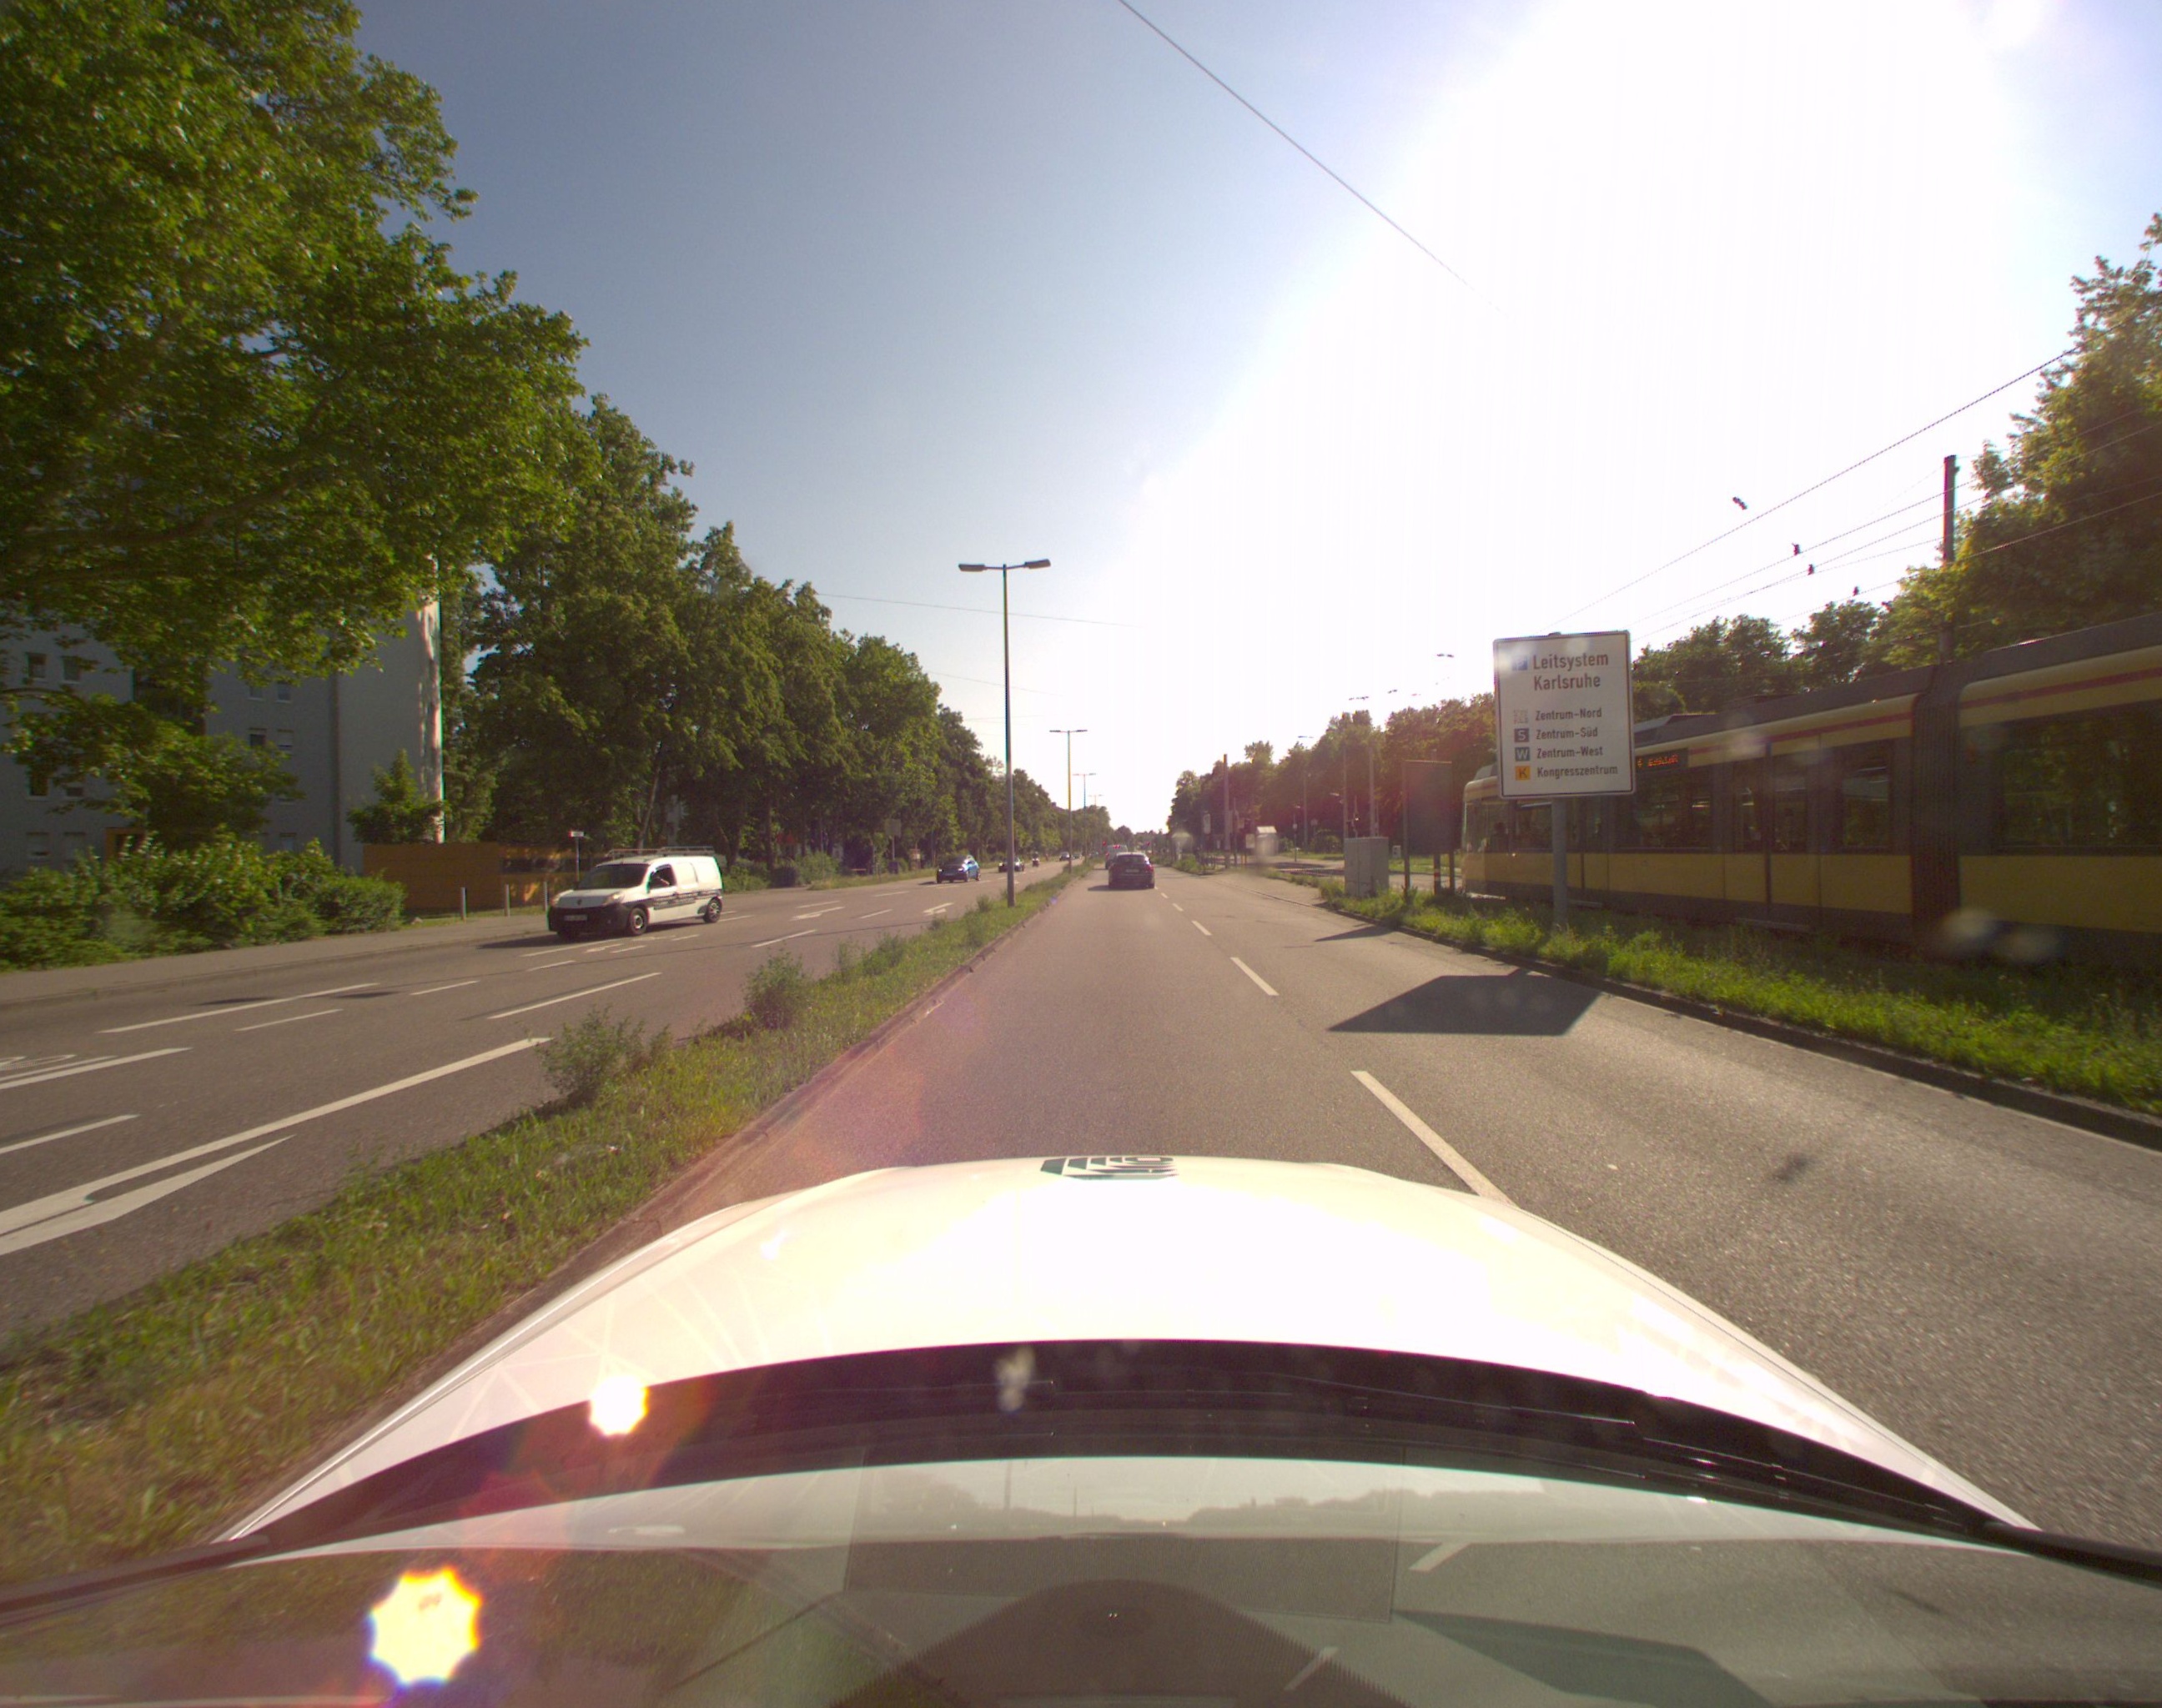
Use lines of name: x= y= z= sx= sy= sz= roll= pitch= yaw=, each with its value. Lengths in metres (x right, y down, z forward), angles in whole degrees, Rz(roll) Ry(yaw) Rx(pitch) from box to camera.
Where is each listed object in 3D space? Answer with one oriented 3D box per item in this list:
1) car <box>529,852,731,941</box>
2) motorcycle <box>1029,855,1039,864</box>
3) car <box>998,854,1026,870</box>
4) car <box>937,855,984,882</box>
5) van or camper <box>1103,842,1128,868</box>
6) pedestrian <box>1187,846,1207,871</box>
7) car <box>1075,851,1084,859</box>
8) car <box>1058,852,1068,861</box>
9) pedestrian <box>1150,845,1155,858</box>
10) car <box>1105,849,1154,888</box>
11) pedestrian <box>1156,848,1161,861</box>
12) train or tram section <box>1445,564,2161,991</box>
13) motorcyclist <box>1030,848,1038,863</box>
car: x=-10.374 y=0.875 z=19.214 sx=1.779 sy=1.772 sz=4.577 roll=-2 pitch=0 yaw=6
motorcycle: x=-5.170 y=0.601 z=89.624 sx=0.774 sy=0.948 sz=2.403 roll=-1 pitch=0 yaw=2
car: x=-5.895 y=0.671 z=69.873 sx=1.781 sy=1.328 sz=4.739 roll=-1 pitch=0 yaw=2
car: x=-6.948 y=0.815 z=47.299 sx=1.781 sy=1.415 sz=4.391 roll=-1 pitch=0 yaw=4
van or camper: x=2.973 y=0.066 z=69.615 sx=1.986 sy=2.096 sz=4.601 roll=-2 pitch=0 yaw=2
pedestrian: x=7.499 y=0.296 z=52.744 sx=0.988 sy=1.634 sz=0.726 roll=-1 pitch=0 yaw=36
car: x=-0.331 y=0.243 z=179.473 sx=1.843 sy=1.552 sz=4.002 roll=-2 pitch=0 yaw=2
car: x=-3.345 y=0.480 z=149.432 sx=1.528 sy=1.486 sz=4.002 roll=-2 pitch=0 yaw=2
pedestrian: x=11.242 y=-0.353 z=128.362 sx=0.696 sy=2.013 sz=0.703 roll=-1 pitch=0 yaw=1
car: x=2.056 y=0.562 z=33.972 sx=1.894 sy=1.505 sz=4.070 roll=-2 pitch=0 yaw=4
pedestrian: x=12.188 y=0.032 z=128.164 sx=0.696 sy=2.013 sz=0.703 roll=-1 pitch=0 yaw=1
train or tram section: x=10.453 y=-0.603 z=13.496 sx=2.674 sy=3.481 sz=14.977 roll=-1 pitch=0 yaw=2
motorcyclist: x=-5.182 y=0.164 z=89.490 sx=0.760 sy=1.552 sz=0.800 roll=-2 pitch=0 yaw=1
